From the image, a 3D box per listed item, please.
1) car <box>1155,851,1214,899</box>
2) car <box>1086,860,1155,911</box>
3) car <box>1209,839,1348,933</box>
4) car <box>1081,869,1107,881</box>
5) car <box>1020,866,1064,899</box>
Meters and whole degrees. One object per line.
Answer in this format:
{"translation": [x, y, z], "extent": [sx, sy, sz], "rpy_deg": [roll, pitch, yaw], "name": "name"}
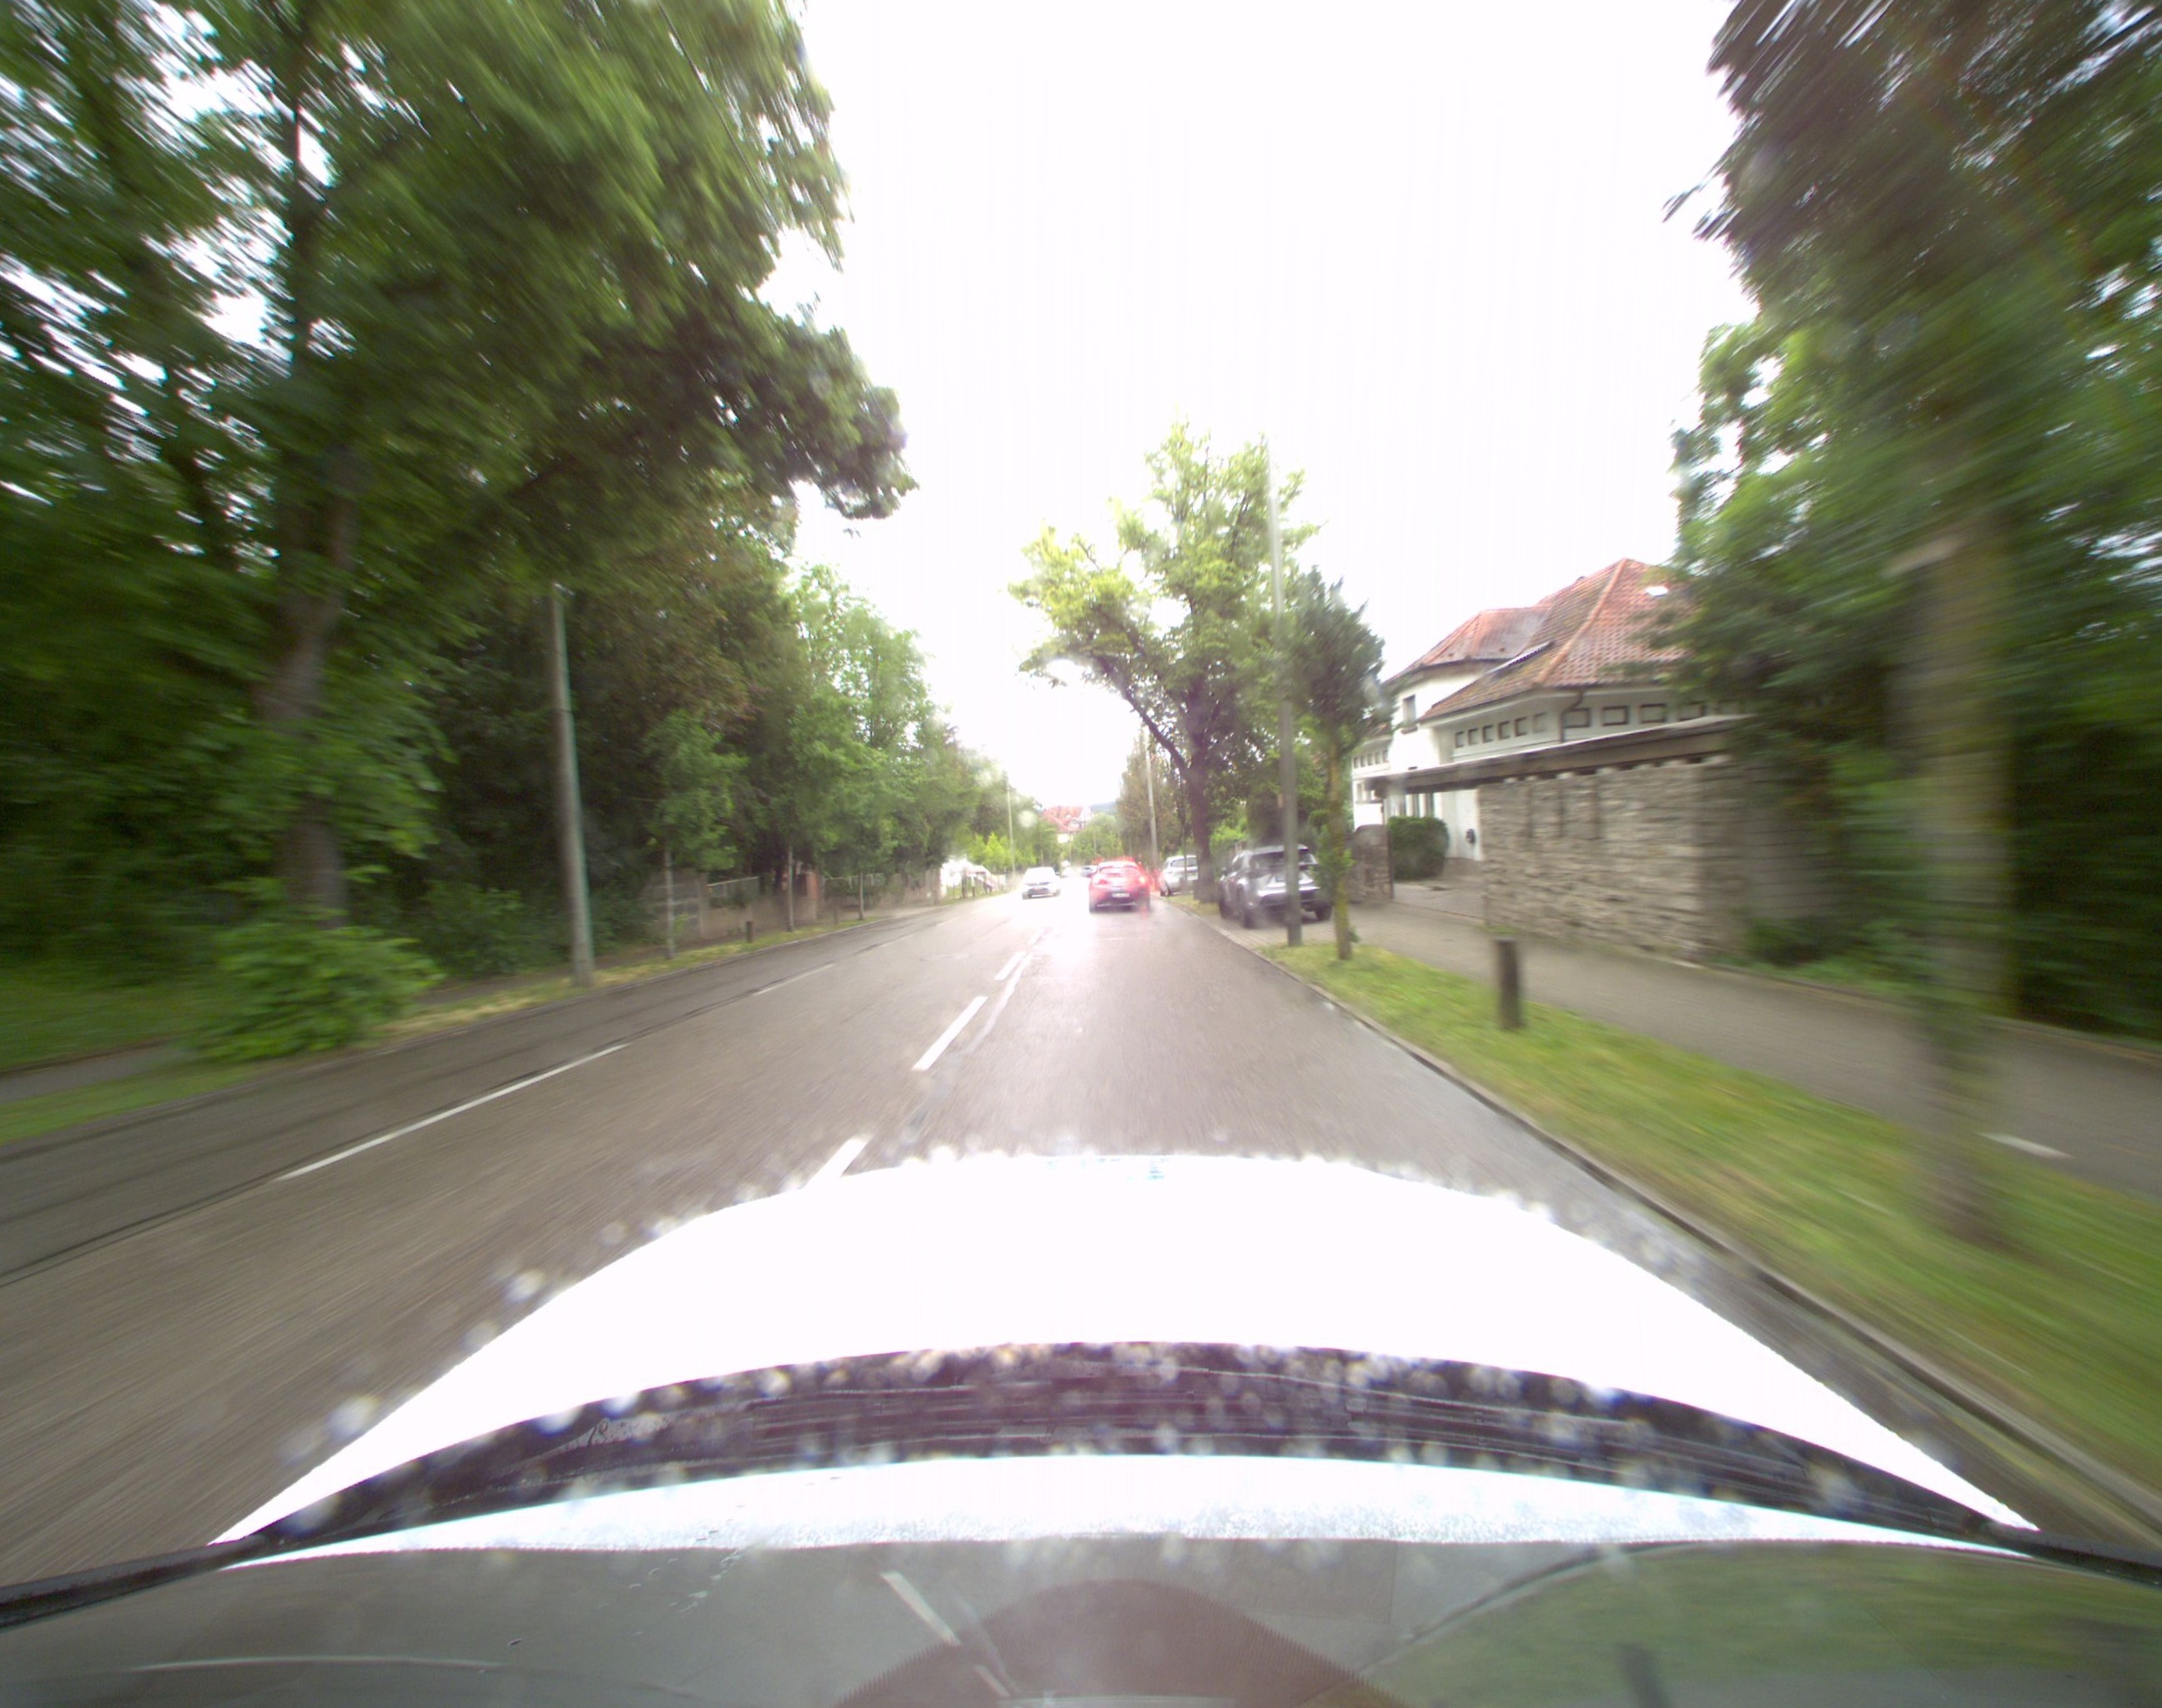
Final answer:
{"translation": [4.088, 0.815, 32.797], "extent": [1.818, 1.629, 4.001], "rpy_deg": [-6, -1, 2], "name": "car"}
{"translation": [1.208, 0.968, 25.396], "extent": [1.938, 1.432, 3.885], "rpy_deg": [-2, -2, 2], "name": "car"}
{"translation": [4.011, 0.590, 17.287], "extent": [1.911, 1.567, 4.222], "rpy_deg": [-5, 0, 2], "name": "car"}
{"translation": [1.883, 3.176, 121.770], "extent": [2.008, 1.684, 3.958], "rpy_deg": [0, -1, -34], "name": "car"}
{"translation": [-1.924, 1.438, 41.200], "extent": [1.787, 1.509, 4.094], "rpy_deg": [-3, -2, 2], "name": "car"}
